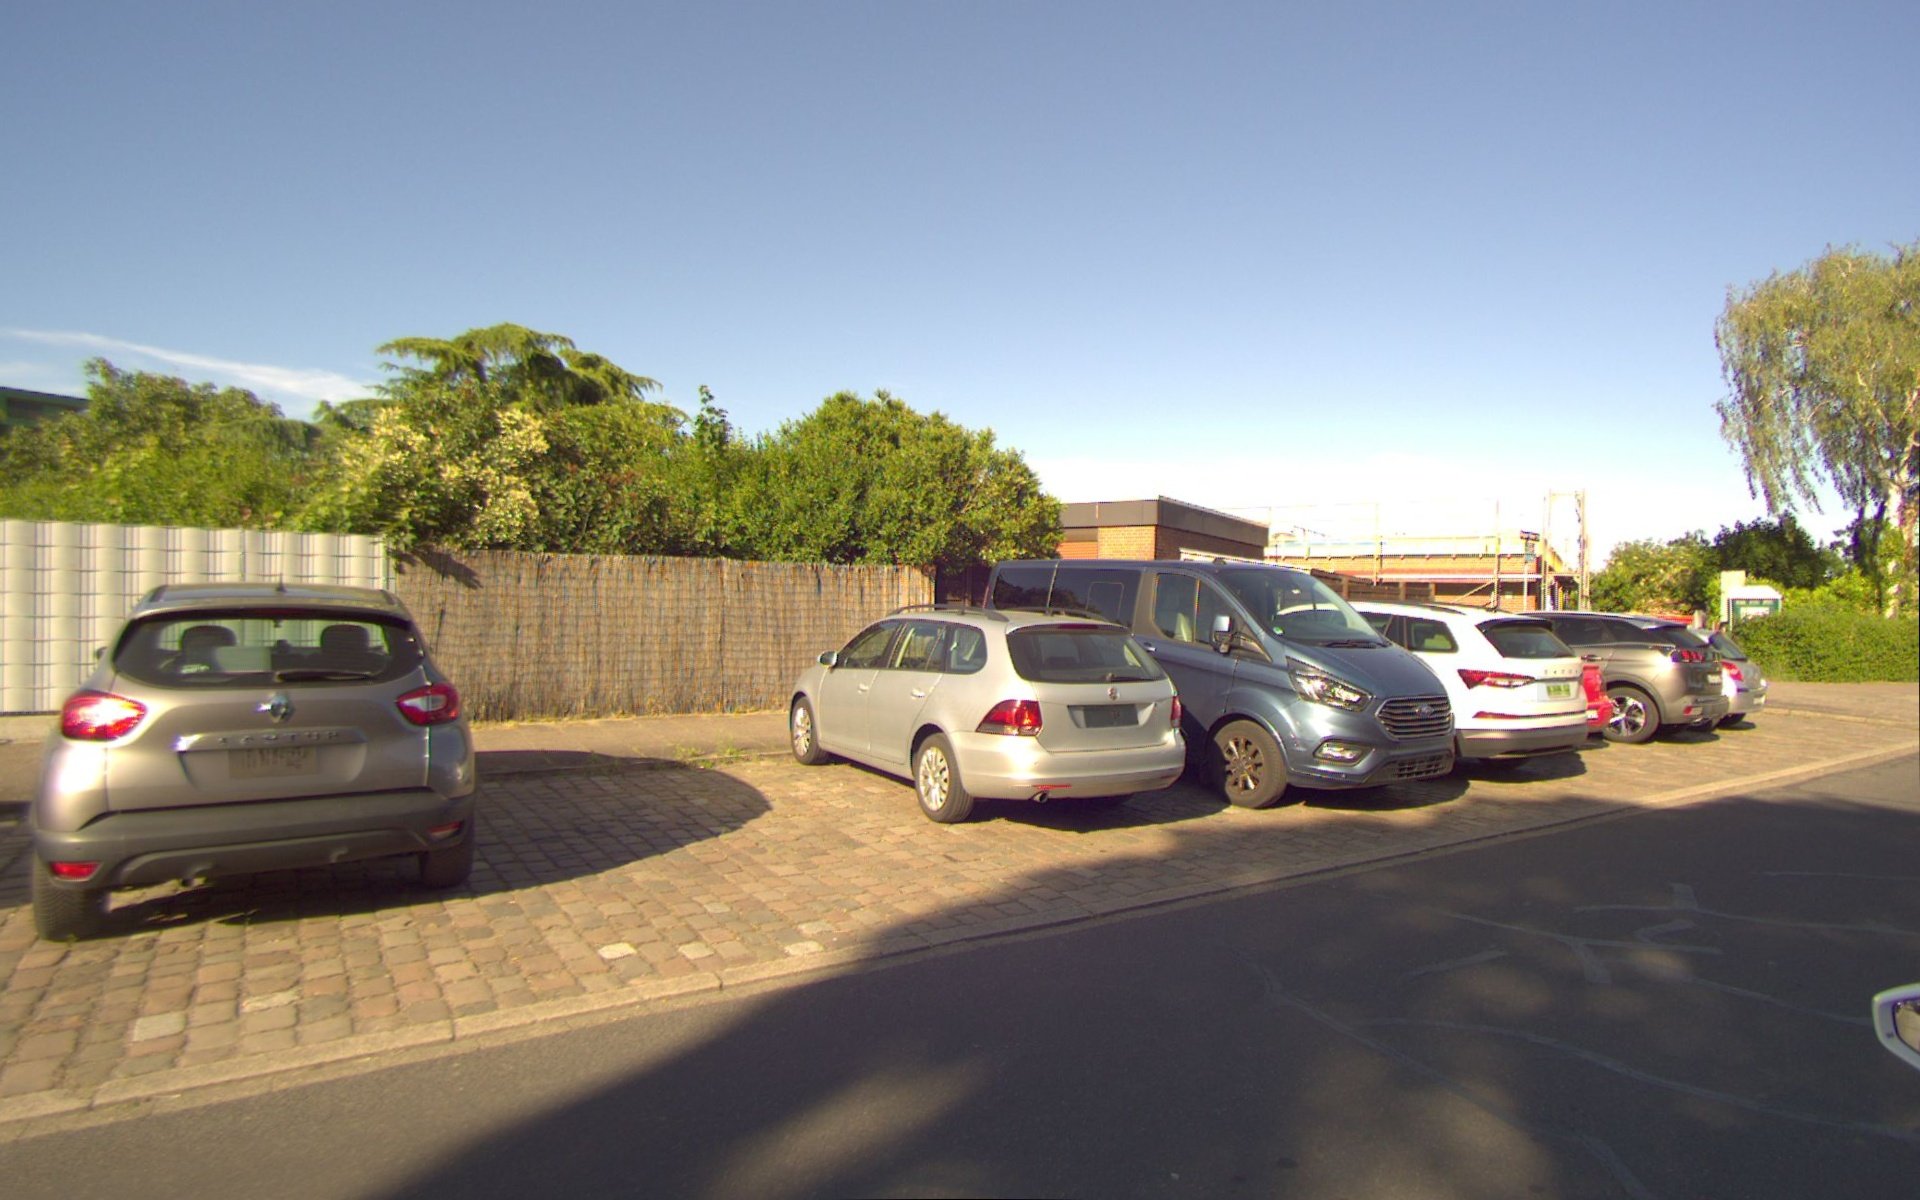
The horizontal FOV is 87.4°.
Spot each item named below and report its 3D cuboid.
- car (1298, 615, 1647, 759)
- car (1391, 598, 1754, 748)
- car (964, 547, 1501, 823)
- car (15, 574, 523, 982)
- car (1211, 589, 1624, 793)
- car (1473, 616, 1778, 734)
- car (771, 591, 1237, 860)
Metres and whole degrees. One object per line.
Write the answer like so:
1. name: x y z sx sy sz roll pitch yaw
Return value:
1. car: 6.368 0.989 12.869 1.712 1.362 3.595 2 2 -29
2. car: 8.434 0.901 14.209 1.797 1.634 3.968 2 2 -30
3. car: 2.221 0.582 9.627 1.979 1.941 4.842 2 0 -33
4. car: -3.913 0.661 5.892 1.771 1.553 3.789 2 0 -34
5. car: 4.582 0.793 10.586 1.712 1.628 3.595 2 2 -29
6. car: 10.289 1.072 15.740 1.621 1.478 3.657 2 1 -39
7. car: 0.067 0.775 8.361 1.903 1.512 4.116 2 1 -31
